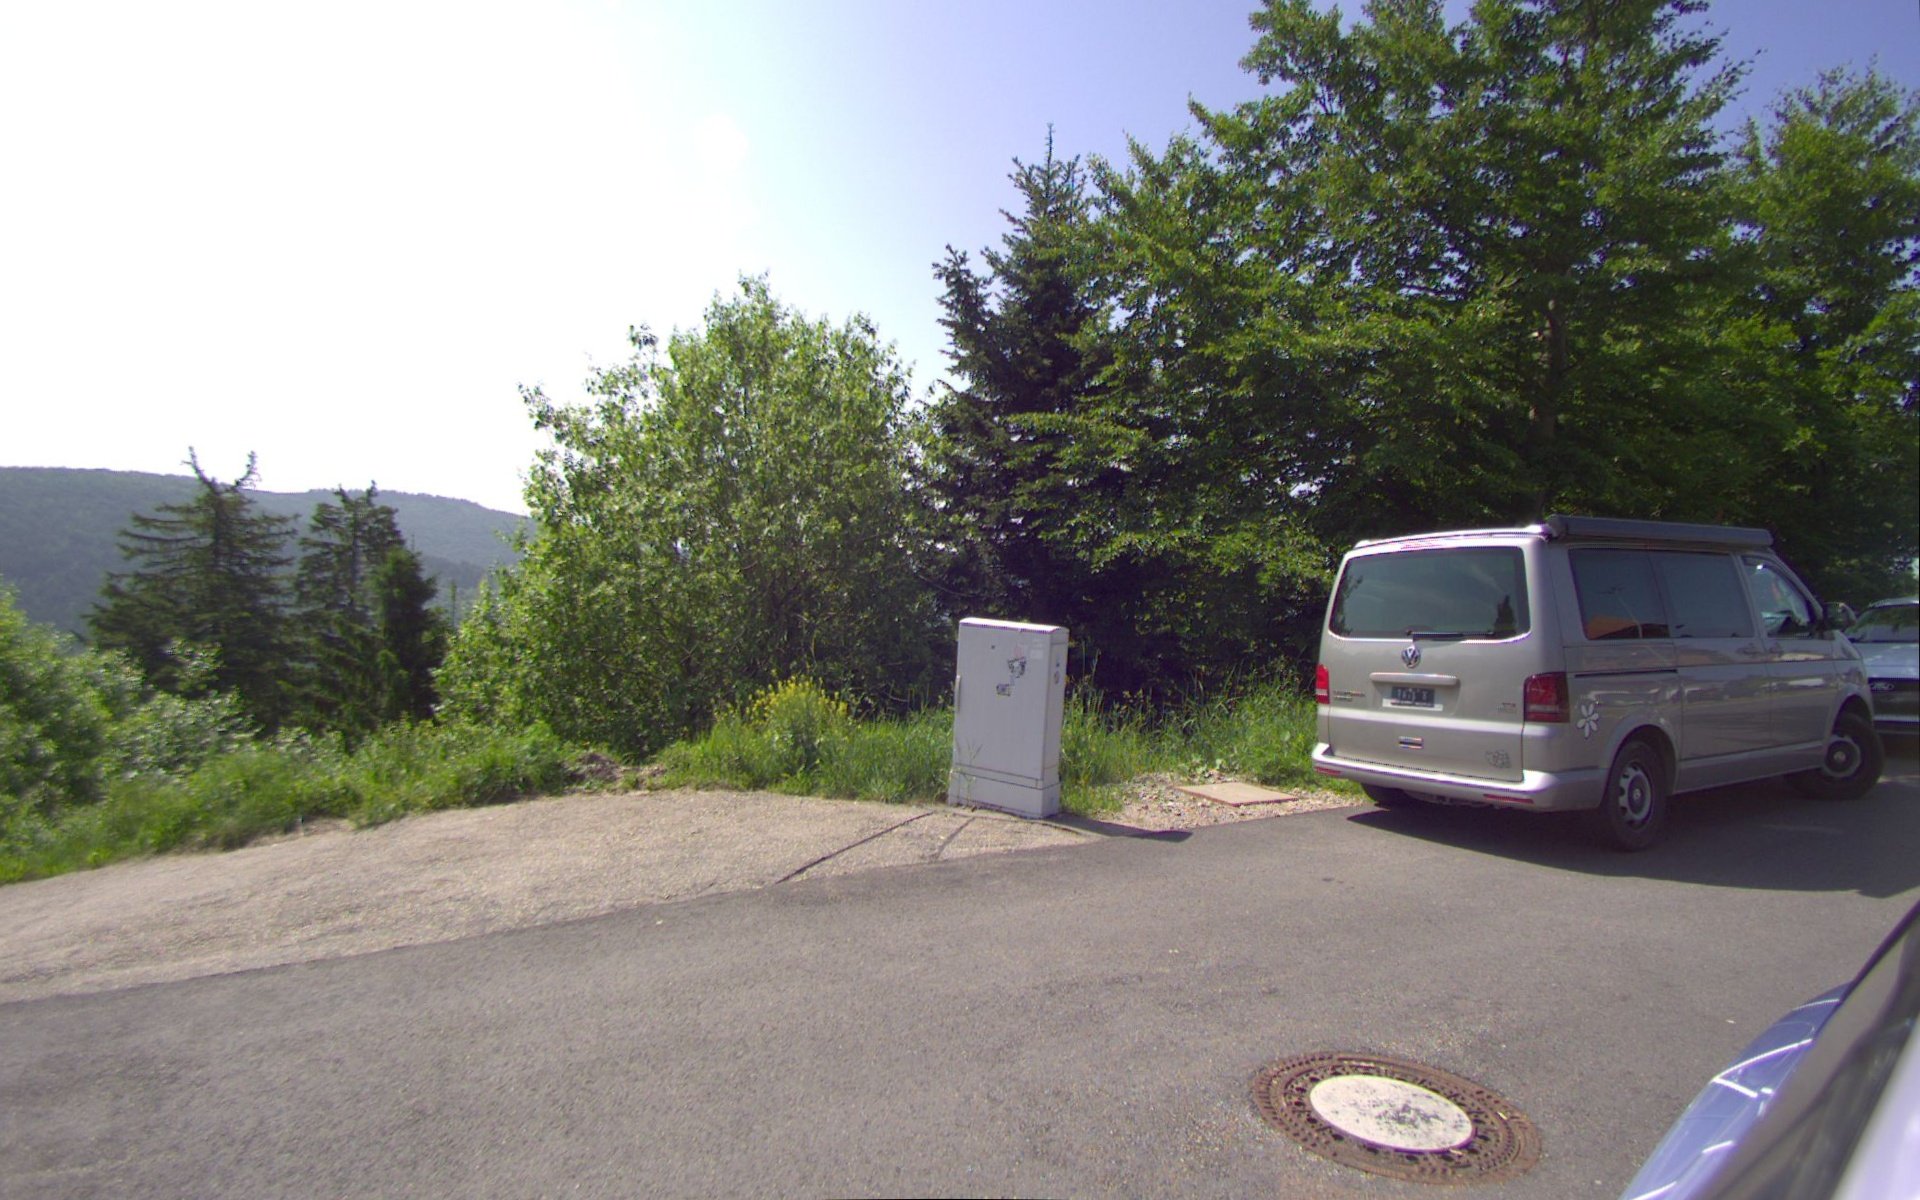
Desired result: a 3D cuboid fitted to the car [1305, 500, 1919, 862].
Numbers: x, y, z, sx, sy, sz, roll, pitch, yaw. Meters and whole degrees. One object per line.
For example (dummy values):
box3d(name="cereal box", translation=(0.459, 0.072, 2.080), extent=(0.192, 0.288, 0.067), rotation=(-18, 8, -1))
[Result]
box3d(name="car", translation=(4.867, 0.458, 7.405), extent=(4.515, 1.960, 1.865), rotation=(0, -1, -29))

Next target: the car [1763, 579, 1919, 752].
box3d(name="car", translation=(10.220, 0.597, 10.420), extent=(3.922, 1.567, 1.877), rotation=(0, -1, -33))
